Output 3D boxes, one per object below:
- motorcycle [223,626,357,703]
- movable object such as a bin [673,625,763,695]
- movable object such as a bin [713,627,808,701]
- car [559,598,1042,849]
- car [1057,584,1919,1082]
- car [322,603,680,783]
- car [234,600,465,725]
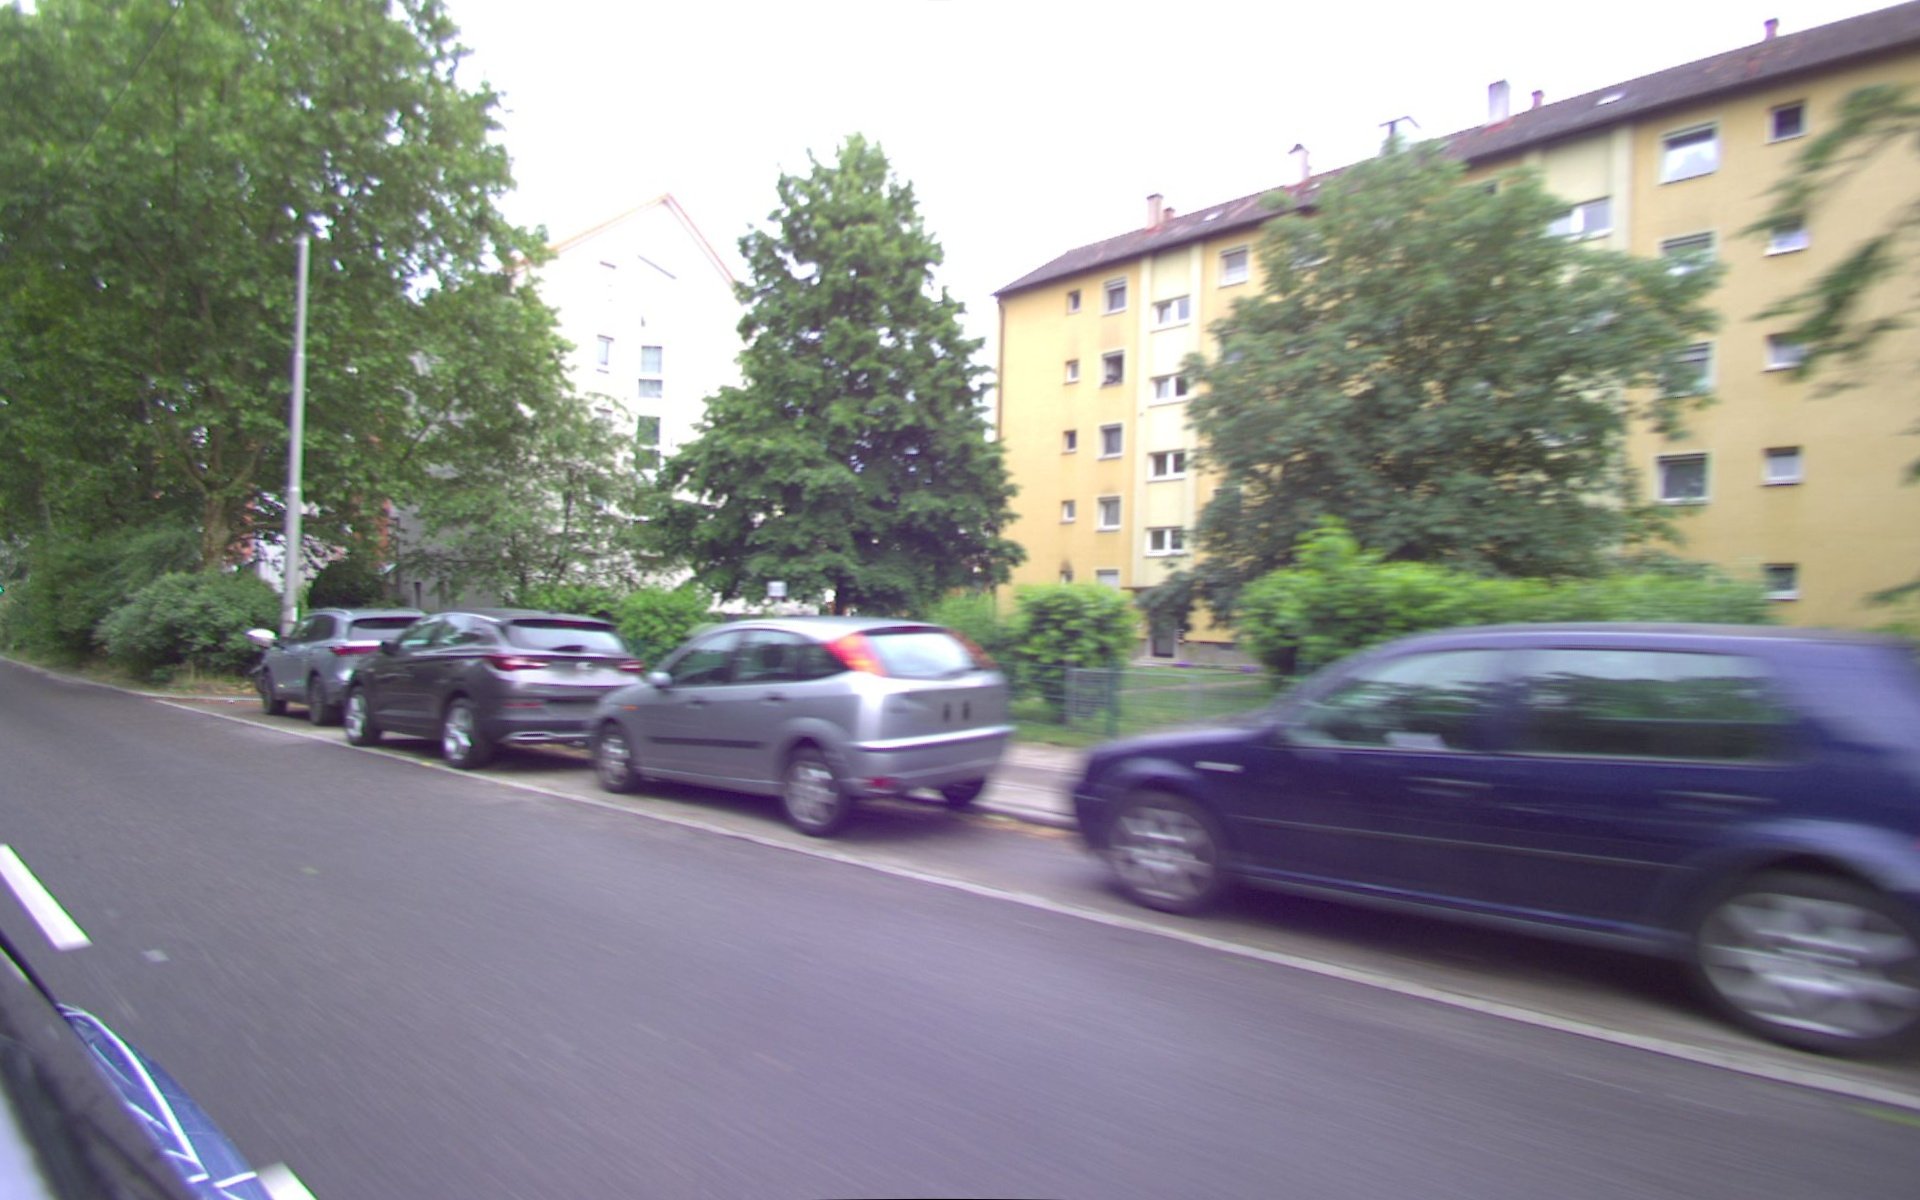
[{"bbox_3d":[-12.194,1.185,18.460,0.782,1.325,1.821,-1,-5,40],"label":"motorcycle"},{"bbox_3d":[-5.045,1.220,21.115,1.480,1.390,1.222,-1,-2,44],"label":"movable object such as a bin"},{"bbox_3d":[-3.964,1.228,20.078,1.480,1.390,1.222,-1,-2,44],"label":"movable object such as a bin"},{"bbox_3d":[-1.476,0.775,8.168,4.123,1.519,1.654,-1,-1,43],"label":"car"},{"bbox_3d":[2.518,0.739,4.672,3.872,1.519,1.655,-1,1,42],"label":"car"},{"bbox_3d":[-5.143,0.909,11.115,4.235,1.603,1.846,-1,-4,40],"label":"car"},{"bbox_3d":[-9.536,0.959,15.657,4.563,1.670,1.715,-2,-6,42],"label":"car"}]
